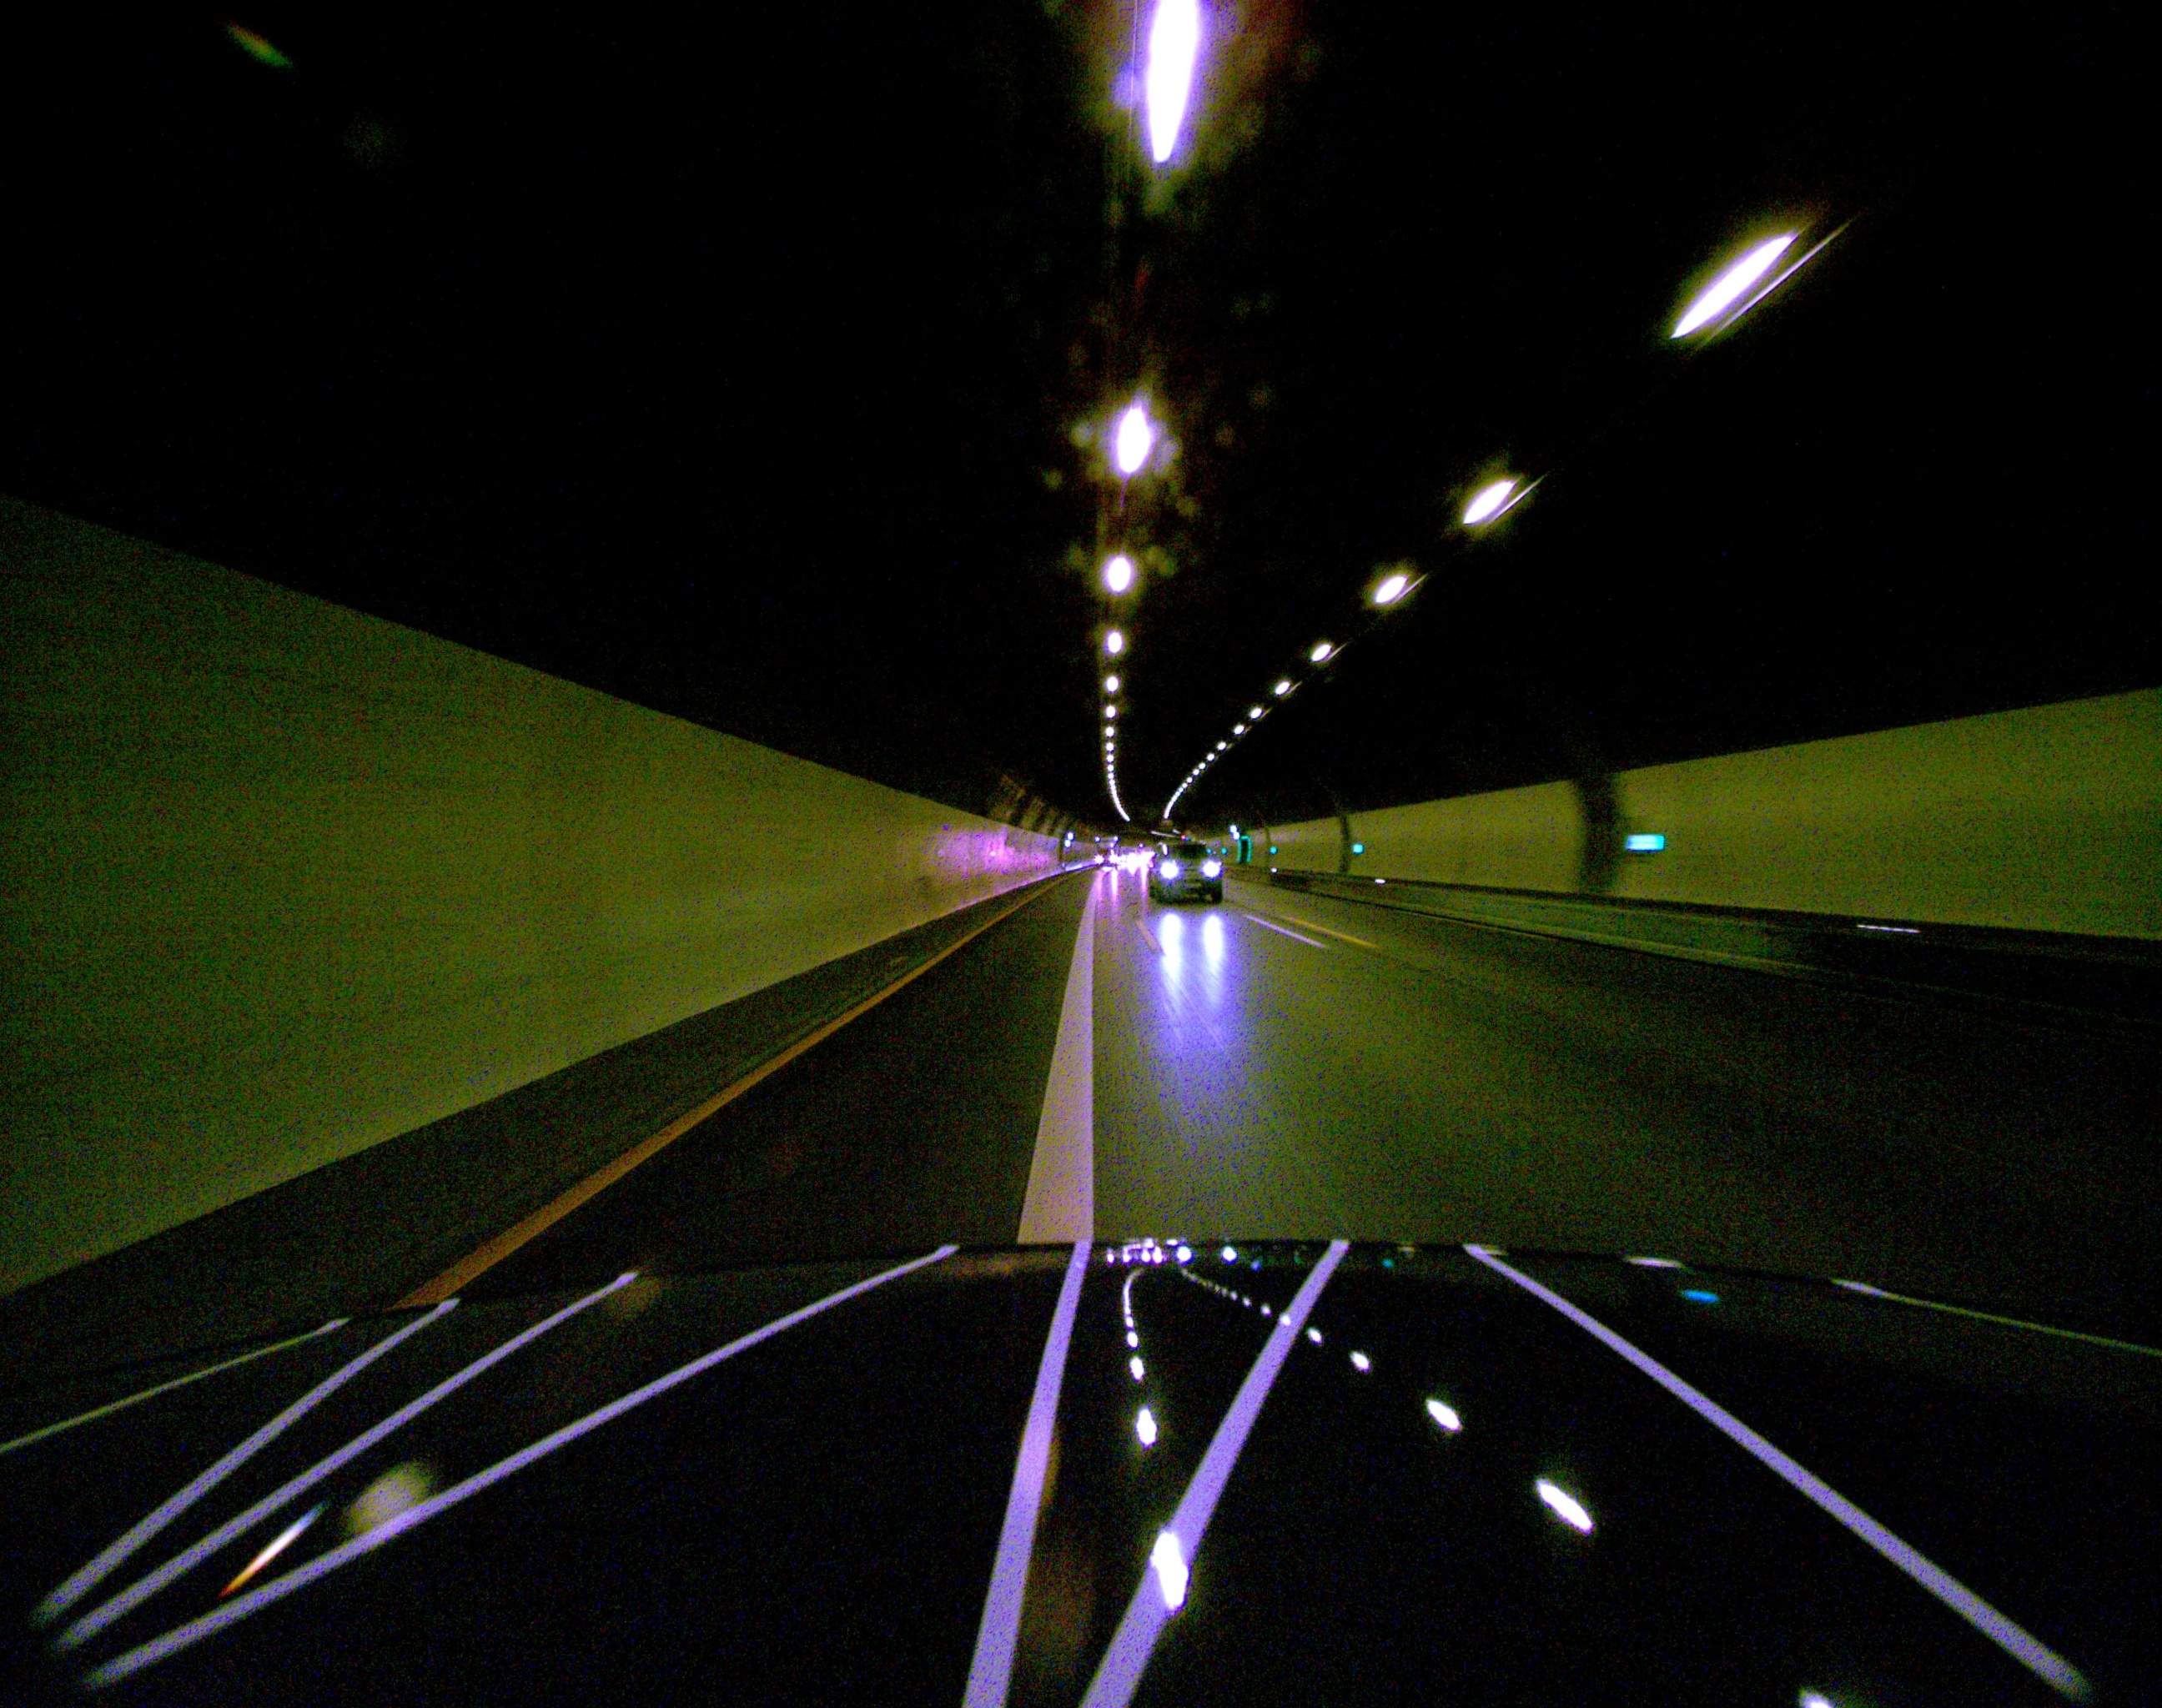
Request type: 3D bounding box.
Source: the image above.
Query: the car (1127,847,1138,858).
[{"bbox_3d":[10.346,-0.327,153.440,1.998,2.002,4.000,-2,0,1],"label":"car"}]

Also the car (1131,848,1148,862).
[{"bbox_3d":[7.787,0.119,101.396,2.171,1.709,4.482,-2,0,4],"label":"car"}]

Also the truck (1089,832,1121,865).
[{"bbox_3d":[2.486,-0.553,79.040,2.988,3.161,10.508,-2,0,1],"label":"truck"}]

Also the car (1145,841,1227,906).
[{"bbox_3d":[3.281,0.542,24.849,1.998,1.884,5.453,0,0,1],"label":"car"}]

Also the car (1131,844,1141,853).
[{"bbox_3d":[12.478,-1.282,172.883,1.998,1.917,4.385,-2,0,1],"label":"car"}]

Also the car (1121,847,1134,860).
[{"bbox_3d":[7.730,-0.071,126.274,1.998,2.002,4.000,-2,0,1],"label":"car"}]
